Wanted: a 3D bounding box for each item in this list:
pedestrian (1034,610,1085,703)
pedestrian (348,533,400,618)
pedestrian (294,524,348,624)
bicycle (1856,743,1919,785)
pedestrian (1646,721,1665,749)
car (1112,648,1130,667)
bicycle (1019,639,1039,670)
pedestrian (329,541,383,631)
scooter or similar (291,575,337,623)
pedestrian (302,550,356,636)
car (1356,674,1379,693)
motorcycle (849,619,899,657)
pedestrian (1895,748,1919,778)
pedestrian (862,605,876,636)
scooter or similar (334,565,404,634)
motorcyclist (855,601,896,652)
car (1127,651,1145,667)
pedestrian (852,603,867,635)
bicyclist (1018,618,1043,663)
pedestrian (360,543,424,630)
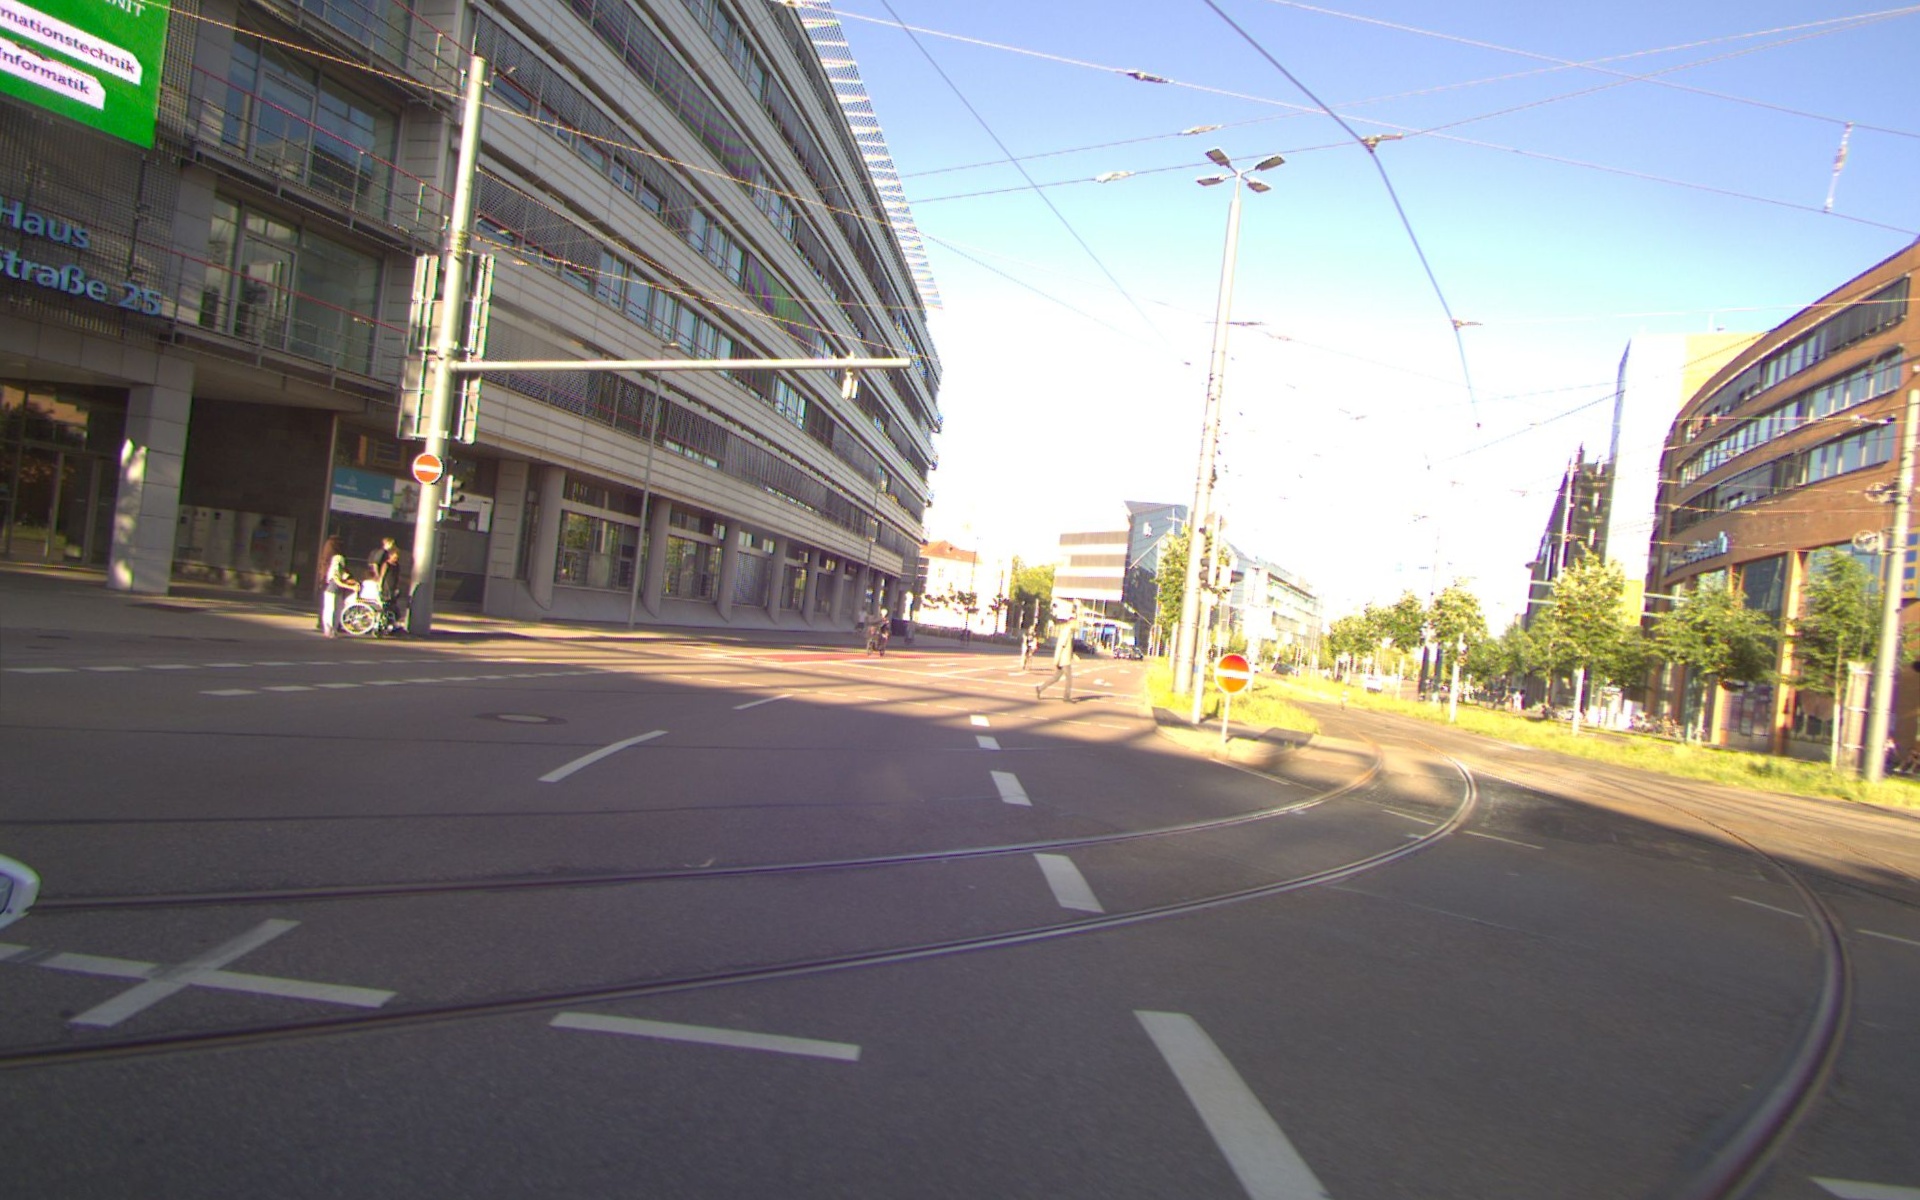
[{"bbox_3d":[2.081,1.173,21.090,0.868,1.845,0.677,6,0,6],"label":"pedestrian"},{"bbox_3d":[-12.651,-0.532,21.716,0.681,1.736,0.642,8,1,43],"label":"pedestrian"},{"bbox_3d":[-11.637,-0.471,18.332,0.631,1.729,0.577,7,1,-29],"label":"pedestrian"},{"bbox_3d":[35.030,6.137,37.362,1.023,1.146,3.182,7,-1,10],"label":"bicycle"},{"bbox_3d":[44.044,8.553,63.708,0.695,1.589,0.622,7,1,24],"label":"pedestrian"},{"bbox_3d":[18.058,6.427,112.832,1.740,1.745,3.908,7,0,9],"label":"car"},{"bbox_3d":[2.704,2.138,39.708,0.632,1.121,1.685,7,0,3],"label":"bicycle"},{"bbox_3d":[-11.669,-0.273,19.464,0.697,1.620,0.654,8,0,-30],"label":"pedestrian"},{"bbox_3d":[-12.270,-0.015,19.136,0.611,0.800,0.655,8,0,-30],"label":"scooter or similar"},{"bbox_3d":[-10.975,-0.125,17.519,0.631,1.419,0.542,7,1,-29],"label":"pedestrian"},{"bbox_3d":[40.204,8.247,99.259,1.872,1.525,4.002,8,-1,21],"label":"car"},{"bbox_3d":[-3.210,1.443,37.962,0.968,1.246,2.945,7,-1,12],"label":"motorcycle"},{"bbox_3d":[38.741,6.649,40.865,0.772,1.070,0.813,7,0,23],"label":"pedestrian"},{"bbox_3d":[-5.231,1.177,57.860,0.539,1.755,0.642,7,1,7],"label":"pedestrian"},{"bbox_3d":[-10.977,-0.004,18.714,1.007,1.143,0.546,7,0,-28],"label":"scooter or similar"},{"bbox_3d":[-3.172,1.009,37.869,1.002,1.752,1.461,7,0,12],"label":"motorcyclist"},{"bbox_3d":[21.559,7.186,123.181,1.850,1.621,4.002,8,0,12],"label":"car"},{"bbox_3d":[-5.807,1.091,57.937,0.539,1.755,0.642,7,1,7],"label":"pedestrian"},{"bbox_3d":[2.774,1.593,39.708,0.752,1.687,0.994,7,0,3],"label":"bicyclist"},{"bbox_3d":[-11.380,-0.268,20.166,0.709,1.637,0.655,7,0,9],"label":"pedestrian"}]
